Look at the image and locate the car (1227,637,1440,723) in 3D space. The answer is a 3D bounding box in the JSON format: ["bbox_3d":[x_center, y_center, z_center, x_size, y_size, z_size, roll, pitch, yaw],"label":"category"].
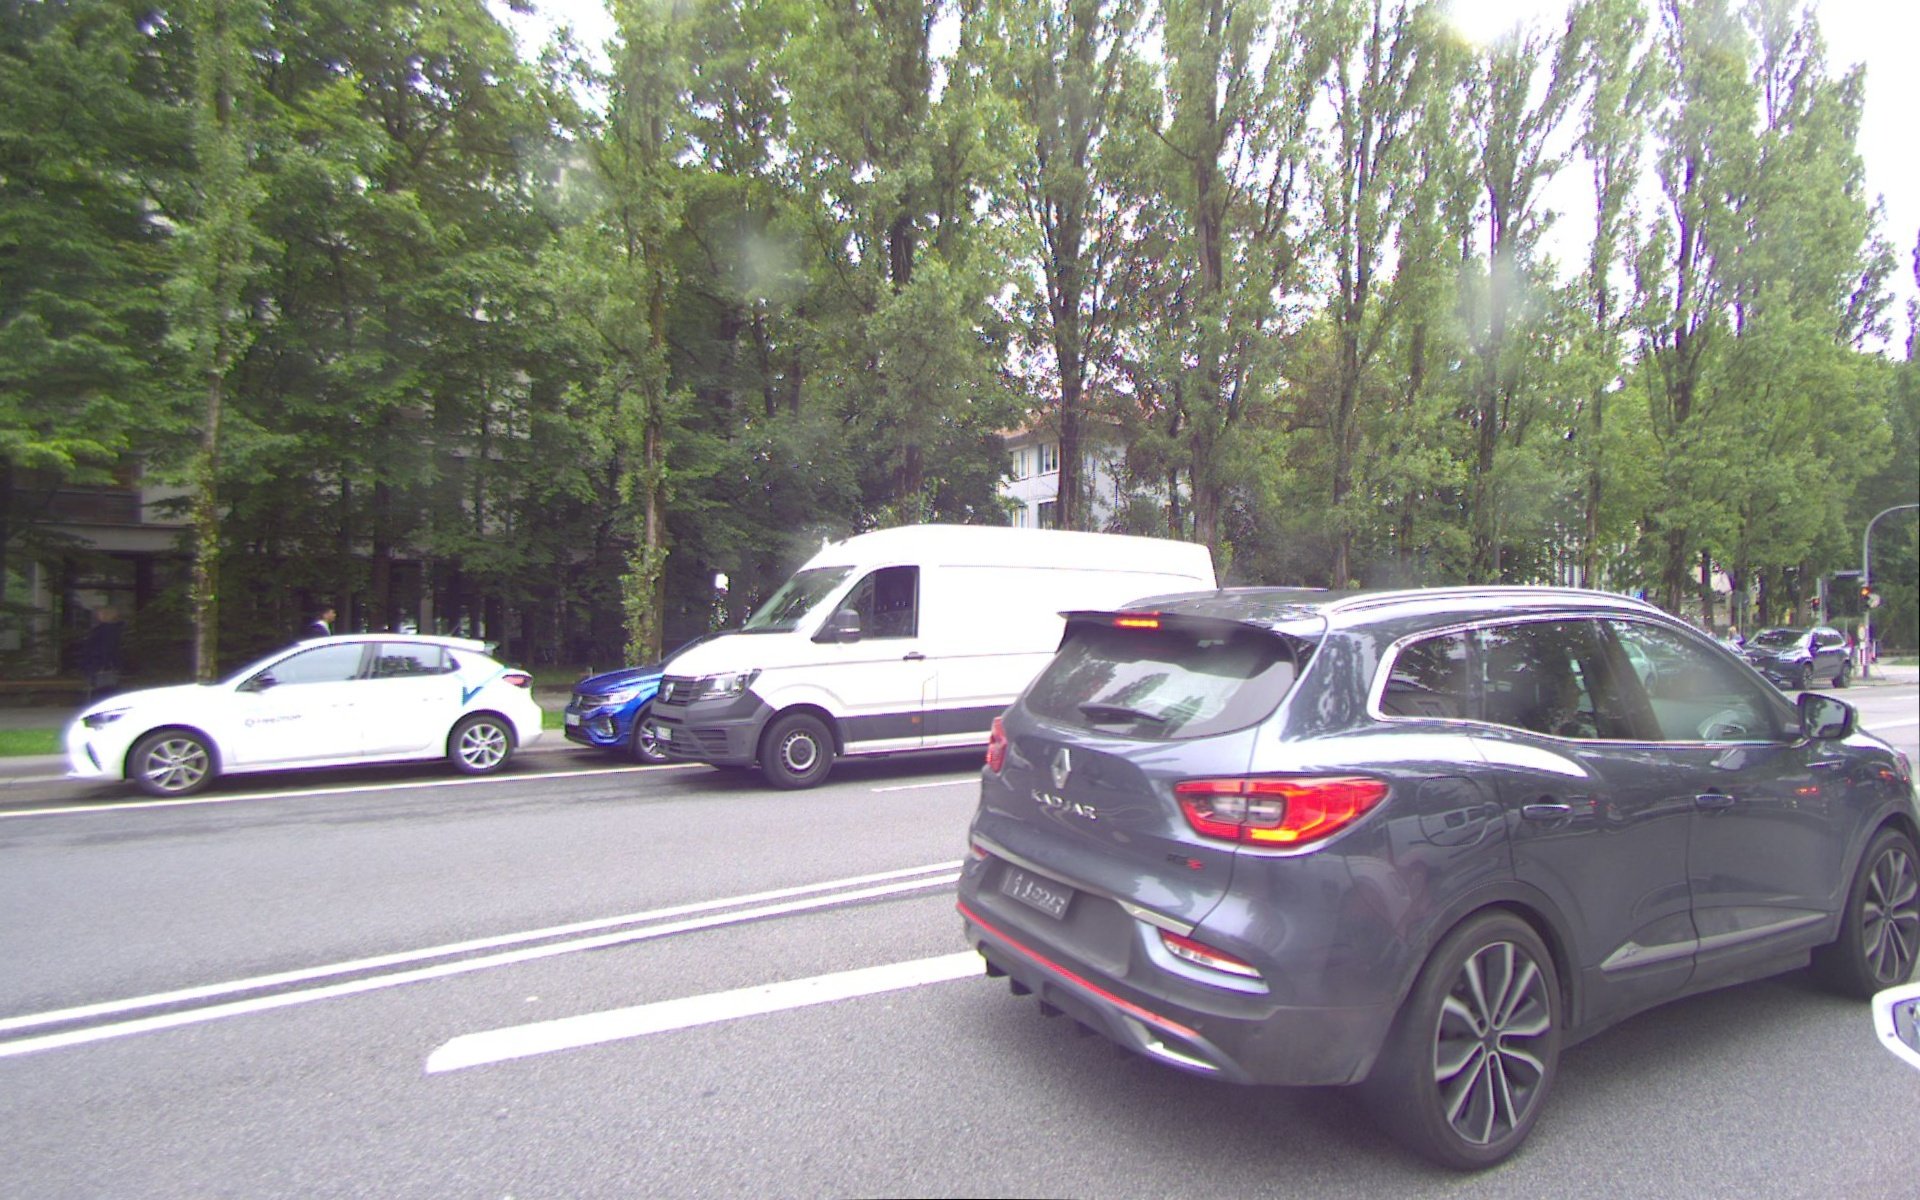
[{"bbox_3d":[6.904,1.429,18.518,3.805,1.444,1.594,1,-4,-30],"label":"car"}]

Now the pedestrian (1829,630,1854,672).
[{"bbox_3d":[31.699,1.824,36.110,0.530,1.505,0.515,1,-1,-30],"label":"pedestrian"}]

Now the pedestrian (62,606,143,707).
[{"bbox_3d":[-14.193,0.920,16.648,0.871,1.620,0.733,1,0,-30],"label":"pedestrian"}]

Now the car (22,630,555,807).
[{"bbox_3d":[-6.521,1.076,10.275,4.187,1.471,1.761,1,-4,-33],"label":"car"}]

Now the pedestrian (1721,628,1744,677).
[{"bbox_3d":[24.916,1.687,32.407,0.390,1.548,0.463,1,-1,-30],"label":"pedestrian"}]

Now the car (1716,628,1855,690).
[{"bbox_3d":[24.118,1.700,29.312,4.646,1.675,1.838,1,-4,-34],"label":"car"}]

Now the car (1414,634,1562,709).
[{"bbox_3d":[11.126,1.484,21.147,2.933,1.466,1.420,1,-4,-32],"label":"car"}]

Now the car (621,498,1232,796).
[{"bbox_3d":[-0.110,0.503,11.259,6.686,2.515,2.215,1,-3,-33],"label":"car"}]

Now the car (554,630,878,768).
[{"bbox_3d":[-2.968,1.128,12.377,3.547,1.470,1.700,1,-3,-33],"label":"car"}]

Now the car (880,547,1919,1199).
[{"bbox_3d":[1.946,0.729,3.971,4.135,1.607,1.827,1,0,-30],"label":"car"}]

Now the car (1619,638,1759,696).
[{"bbox_3d":[19.086,1.710,26.267,4.123,1.407,1.614,1,-4,-34],"label":"car"}]

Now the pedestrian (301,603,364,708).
[{"bbox_3d":[-11.042,0.956,17.711,0.879,1.795,0.733,1,0,-30],"label":"pedestrian"}]

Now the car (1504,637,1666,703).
[{"bbox_3d":[14.522,1.581,23.291,4.123,1.407,1.614,1,-4,-34],"label":"car"}]
